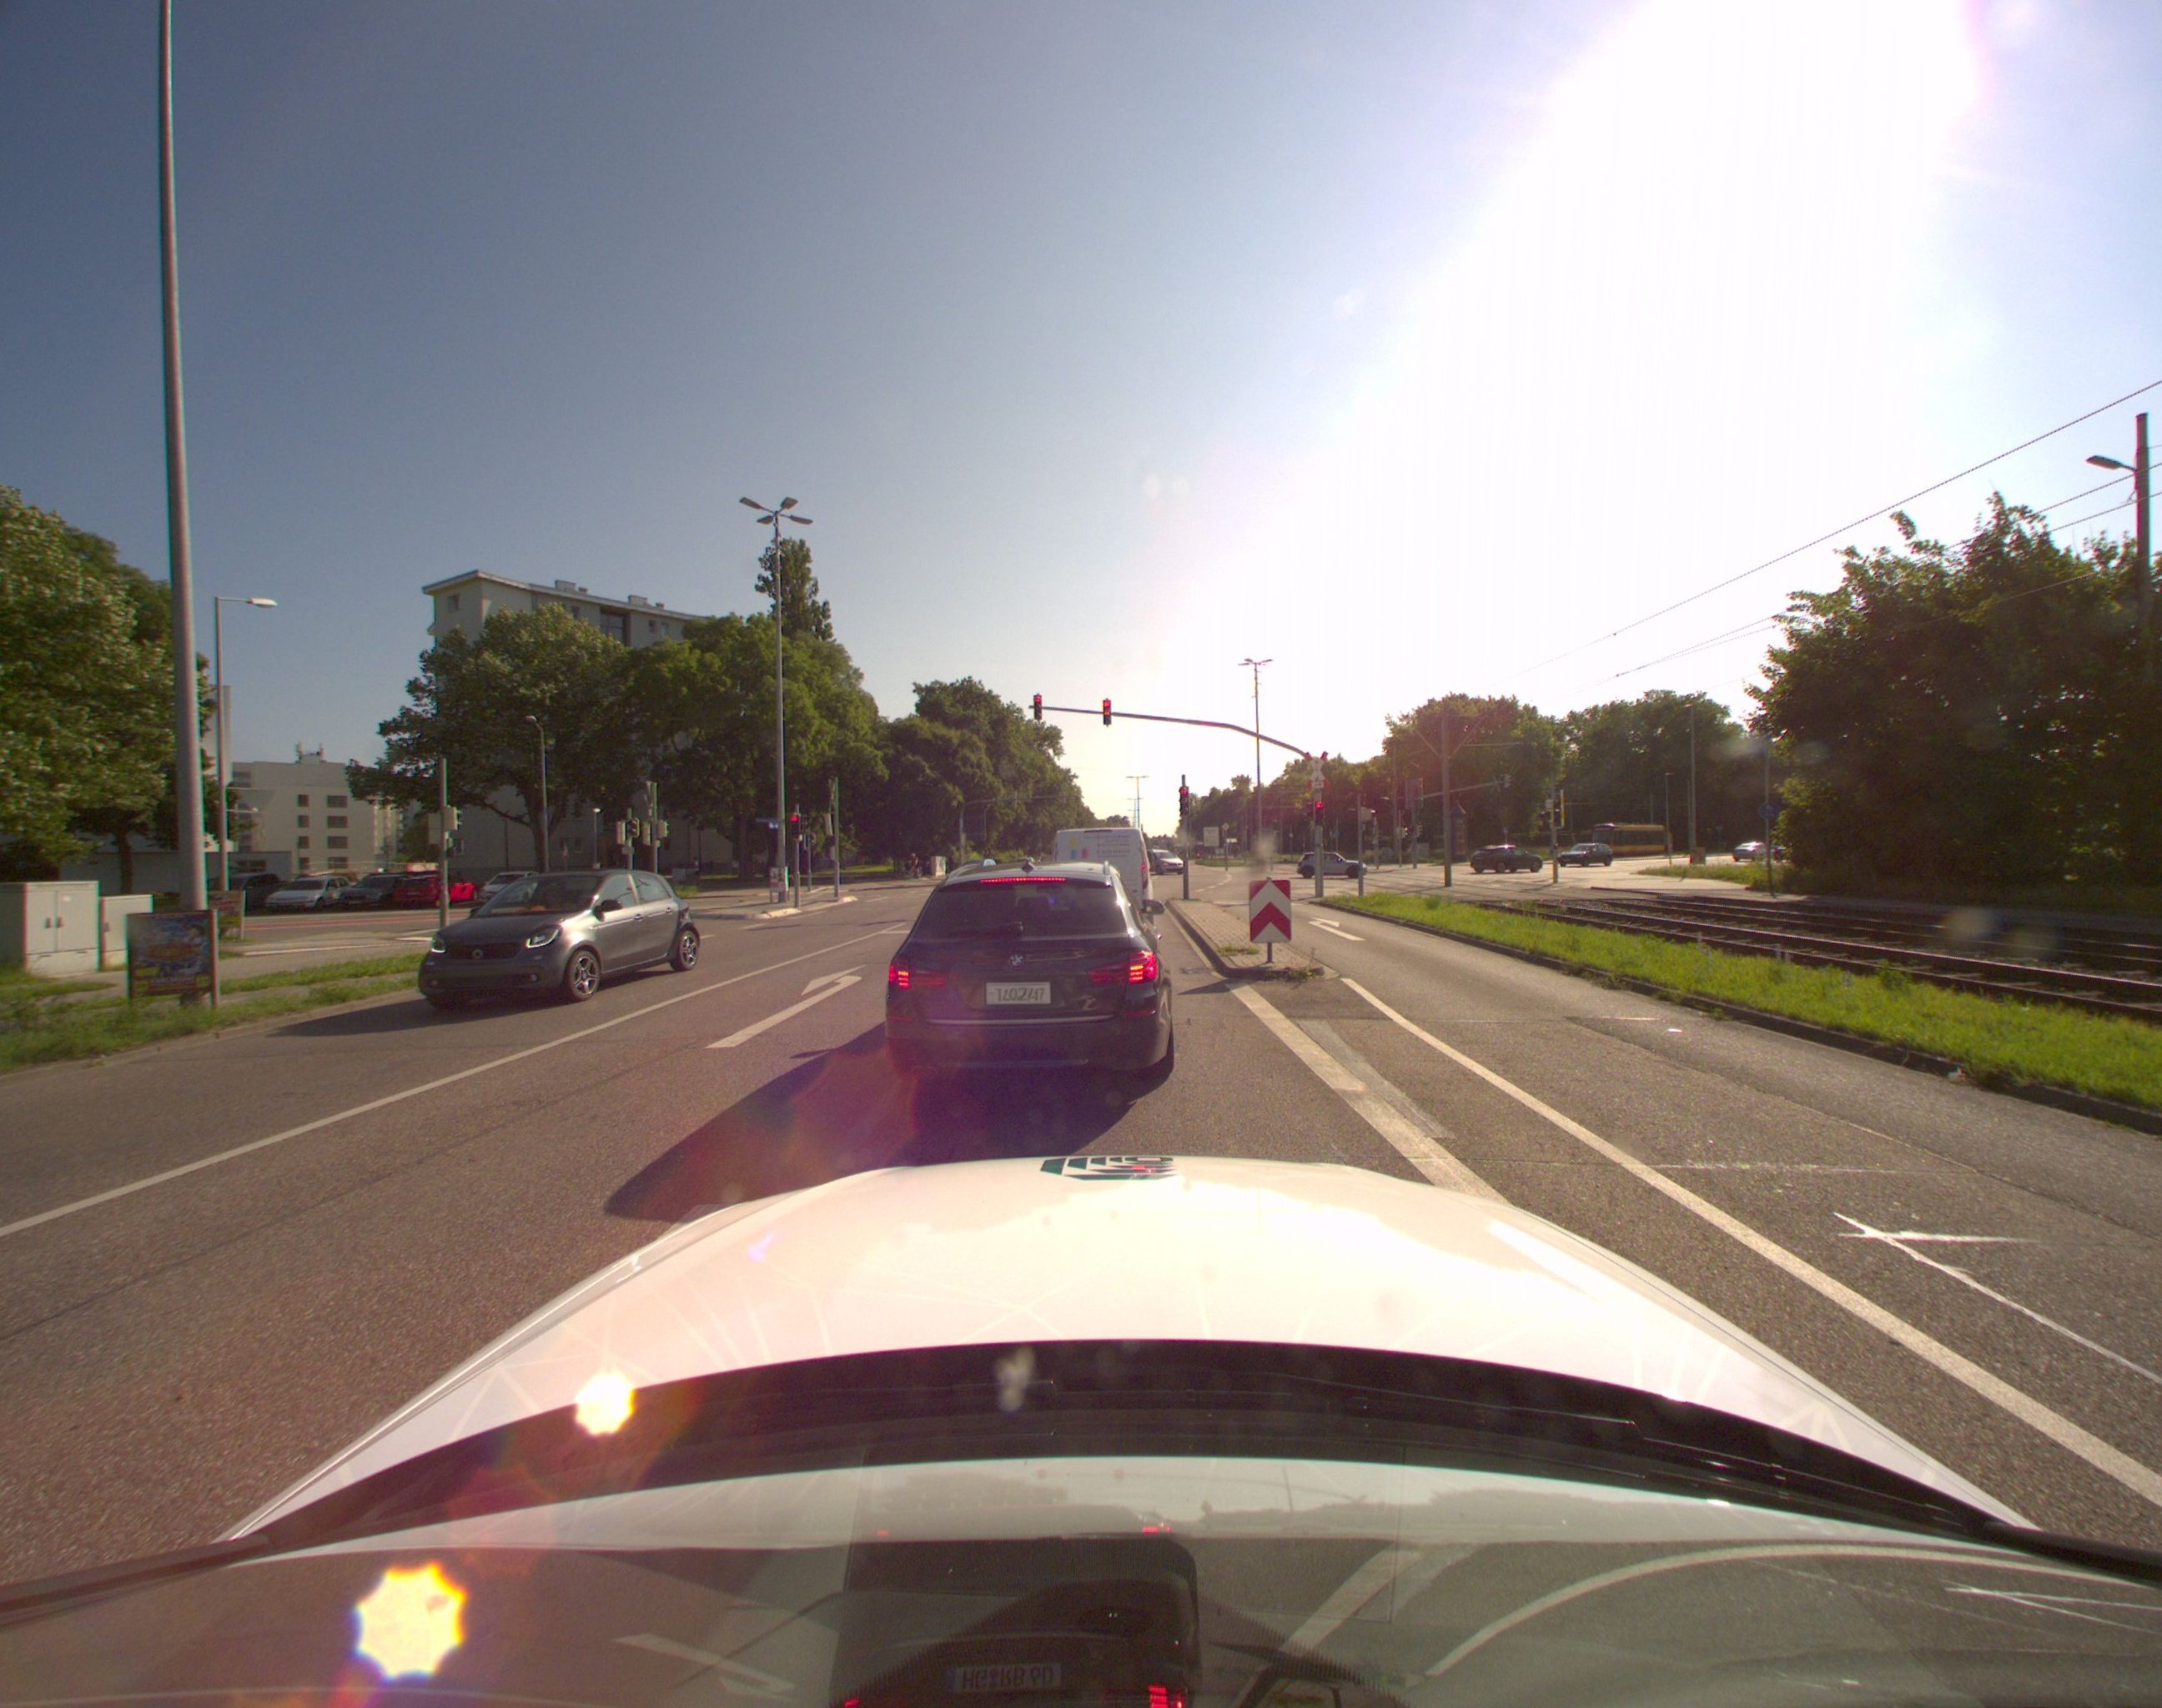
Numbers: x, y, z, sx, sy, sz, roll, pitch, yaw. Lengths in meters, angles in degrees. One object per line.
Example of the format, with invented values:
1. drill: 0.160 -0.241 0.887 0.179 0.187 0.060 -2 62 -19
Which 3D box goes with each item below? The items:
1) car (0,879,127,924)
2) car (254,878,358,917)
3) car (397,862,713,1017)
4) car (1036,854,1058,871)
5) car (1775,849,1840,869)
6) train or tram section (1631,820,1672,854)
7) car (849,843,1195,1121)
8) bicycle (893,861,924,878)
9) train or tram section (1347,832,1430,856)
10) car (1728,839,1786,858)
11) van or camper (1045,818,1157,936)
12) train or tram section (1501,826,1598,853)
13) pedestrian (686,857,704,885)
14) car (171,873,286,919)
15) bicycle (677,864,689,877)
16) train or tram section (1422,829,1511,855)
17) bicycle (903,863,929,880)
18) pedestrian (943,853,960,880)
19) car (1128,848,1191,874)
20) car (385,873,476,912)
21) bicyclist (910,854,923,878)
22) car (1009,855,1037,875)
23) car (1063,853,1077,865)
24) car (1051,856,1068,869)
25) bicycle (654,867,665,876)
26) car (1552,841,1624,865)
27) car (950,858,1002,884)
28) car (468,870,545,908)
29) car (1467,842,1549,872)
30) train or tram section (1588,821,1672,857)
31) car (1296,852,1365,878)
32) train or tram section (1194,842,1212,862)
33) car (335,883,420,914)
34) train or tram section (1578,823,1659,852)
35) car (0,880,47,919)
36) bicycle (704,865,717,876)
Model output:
1. car: -44.368 2.010 35.211 1.785 1.477 4.785 -1 3 -19
2. car: -35.417 1.931 37.346 1.783 1.521 3.977 -1 0 -16
3. car: -6.503 0.938 10.619 1.627 1.560 3.676 -3 0 1
4. car: -3.412 0.802 81.486 1.738 1.562 4.003 -3 0 3
5. car: 53.371 0.358 59.843 4.415 1.354 1.984 -1 0 -25
6. train or tram section: 66.097 -1.904 94.575 3.015 3.579 12.308 -1 0 31
7. car: -0.260 0.712 6.561 1.896 1.506 4.067 -1 0 2
8. bicycle: -11.639 1.053 55.076 1.902 1.119 0.632 -1 0 1
9. train or tram section: 50.382 -1.653 133.841 12.279 3.579 3.073 -1 0 33
10. car: 52.748 -0.453 63.510 4.420 1.354 1.982 -1 0 -28
11. van or camper: 0.490 0.412 17.054 1.985 2.096 4.602 -1 0 3
12. train or tram section: 67.329 -1.964 117.561 3.064 3.579 12.108 -1 0 -31
13. pedestrian: -23.953 1.044 50.527 0.619 1.712 0.707 -1 2 14
14. car: -38.062 1.826 36.511 1.783 1.811 3.977 -1 0 -16
15. bicycle: -32.687 1.377 66.919 0.615 1.066 1.896 0 -2 -34
16. train or tram section: 59.993 -1.826 126.948 12.072 3.579 3.073 -1 0 38
17. bicycle: -10.715 1.144 53.031 0.614 1.040 2.082 -1 0 21
18. pedestrian: -8.704 0.830 54.788 0.811 1.752 0.933 -1 0 7
19. car: 4.998 0.455 52.403 1.863 1.562 4.160 -1 0 -33
20. car: -30.867 1.773 38.791 1.782 1.415 3.982 -1 4 -14
21. bicyclist: -10.707 0.787 53.076 0.602 1.560 0.606 -1 0 20
22. car: -4.720 0.871 67.199 1.695 1.465 4.373 -3 0 3
23. car: -1.471 0.614 110.127 1.783 1.520 3.999 -2 0 0
24. car: -2.474 0.952 94.267 1.882 1.474 4.099 -2 0 0
25. bicycle: -34.313 1.435 66.229 0.587 0.708 2.215 -1 0 -33
26. car: 35.952 -0.065 57.746 4.871 1.562 2.027 -1 0 -26
27. car: -6.230 0.967 48.898 1.767 1.414 4.259 -1 0 12
28. car: -27.882 1.666 39.678 1.783 1.439 3.980 -1 3 -15
29. car: 25.653 0.155 48.900 4.621 1.722 1.638 -1 0 -19
30. train or tram section: 58.035 -1.559 85.951 11.898 3.579 3.022 -1 0 -34
31. car: 13.851 0.595 45.402 3.495 1.383 1.612 -1 0 11
32. train or tram section: 23.022 -0.248 154.679 2.782 3.618 12.976 0 -1 6
33. car: -32.776 2.052 38.079 1.463 1.193 3.767 -1 0 -15
34. train or tram section: 69.653 -2.052 106.054 3.031 3.579 12.240 -1 0 3
35. car: -46.081 2.016 33.658 1.785 1.476 4.686 -1 3 -19
36. bicycle: -31.033 1.367 68.222 0.673 0.919 2.382 -1 0 -33
